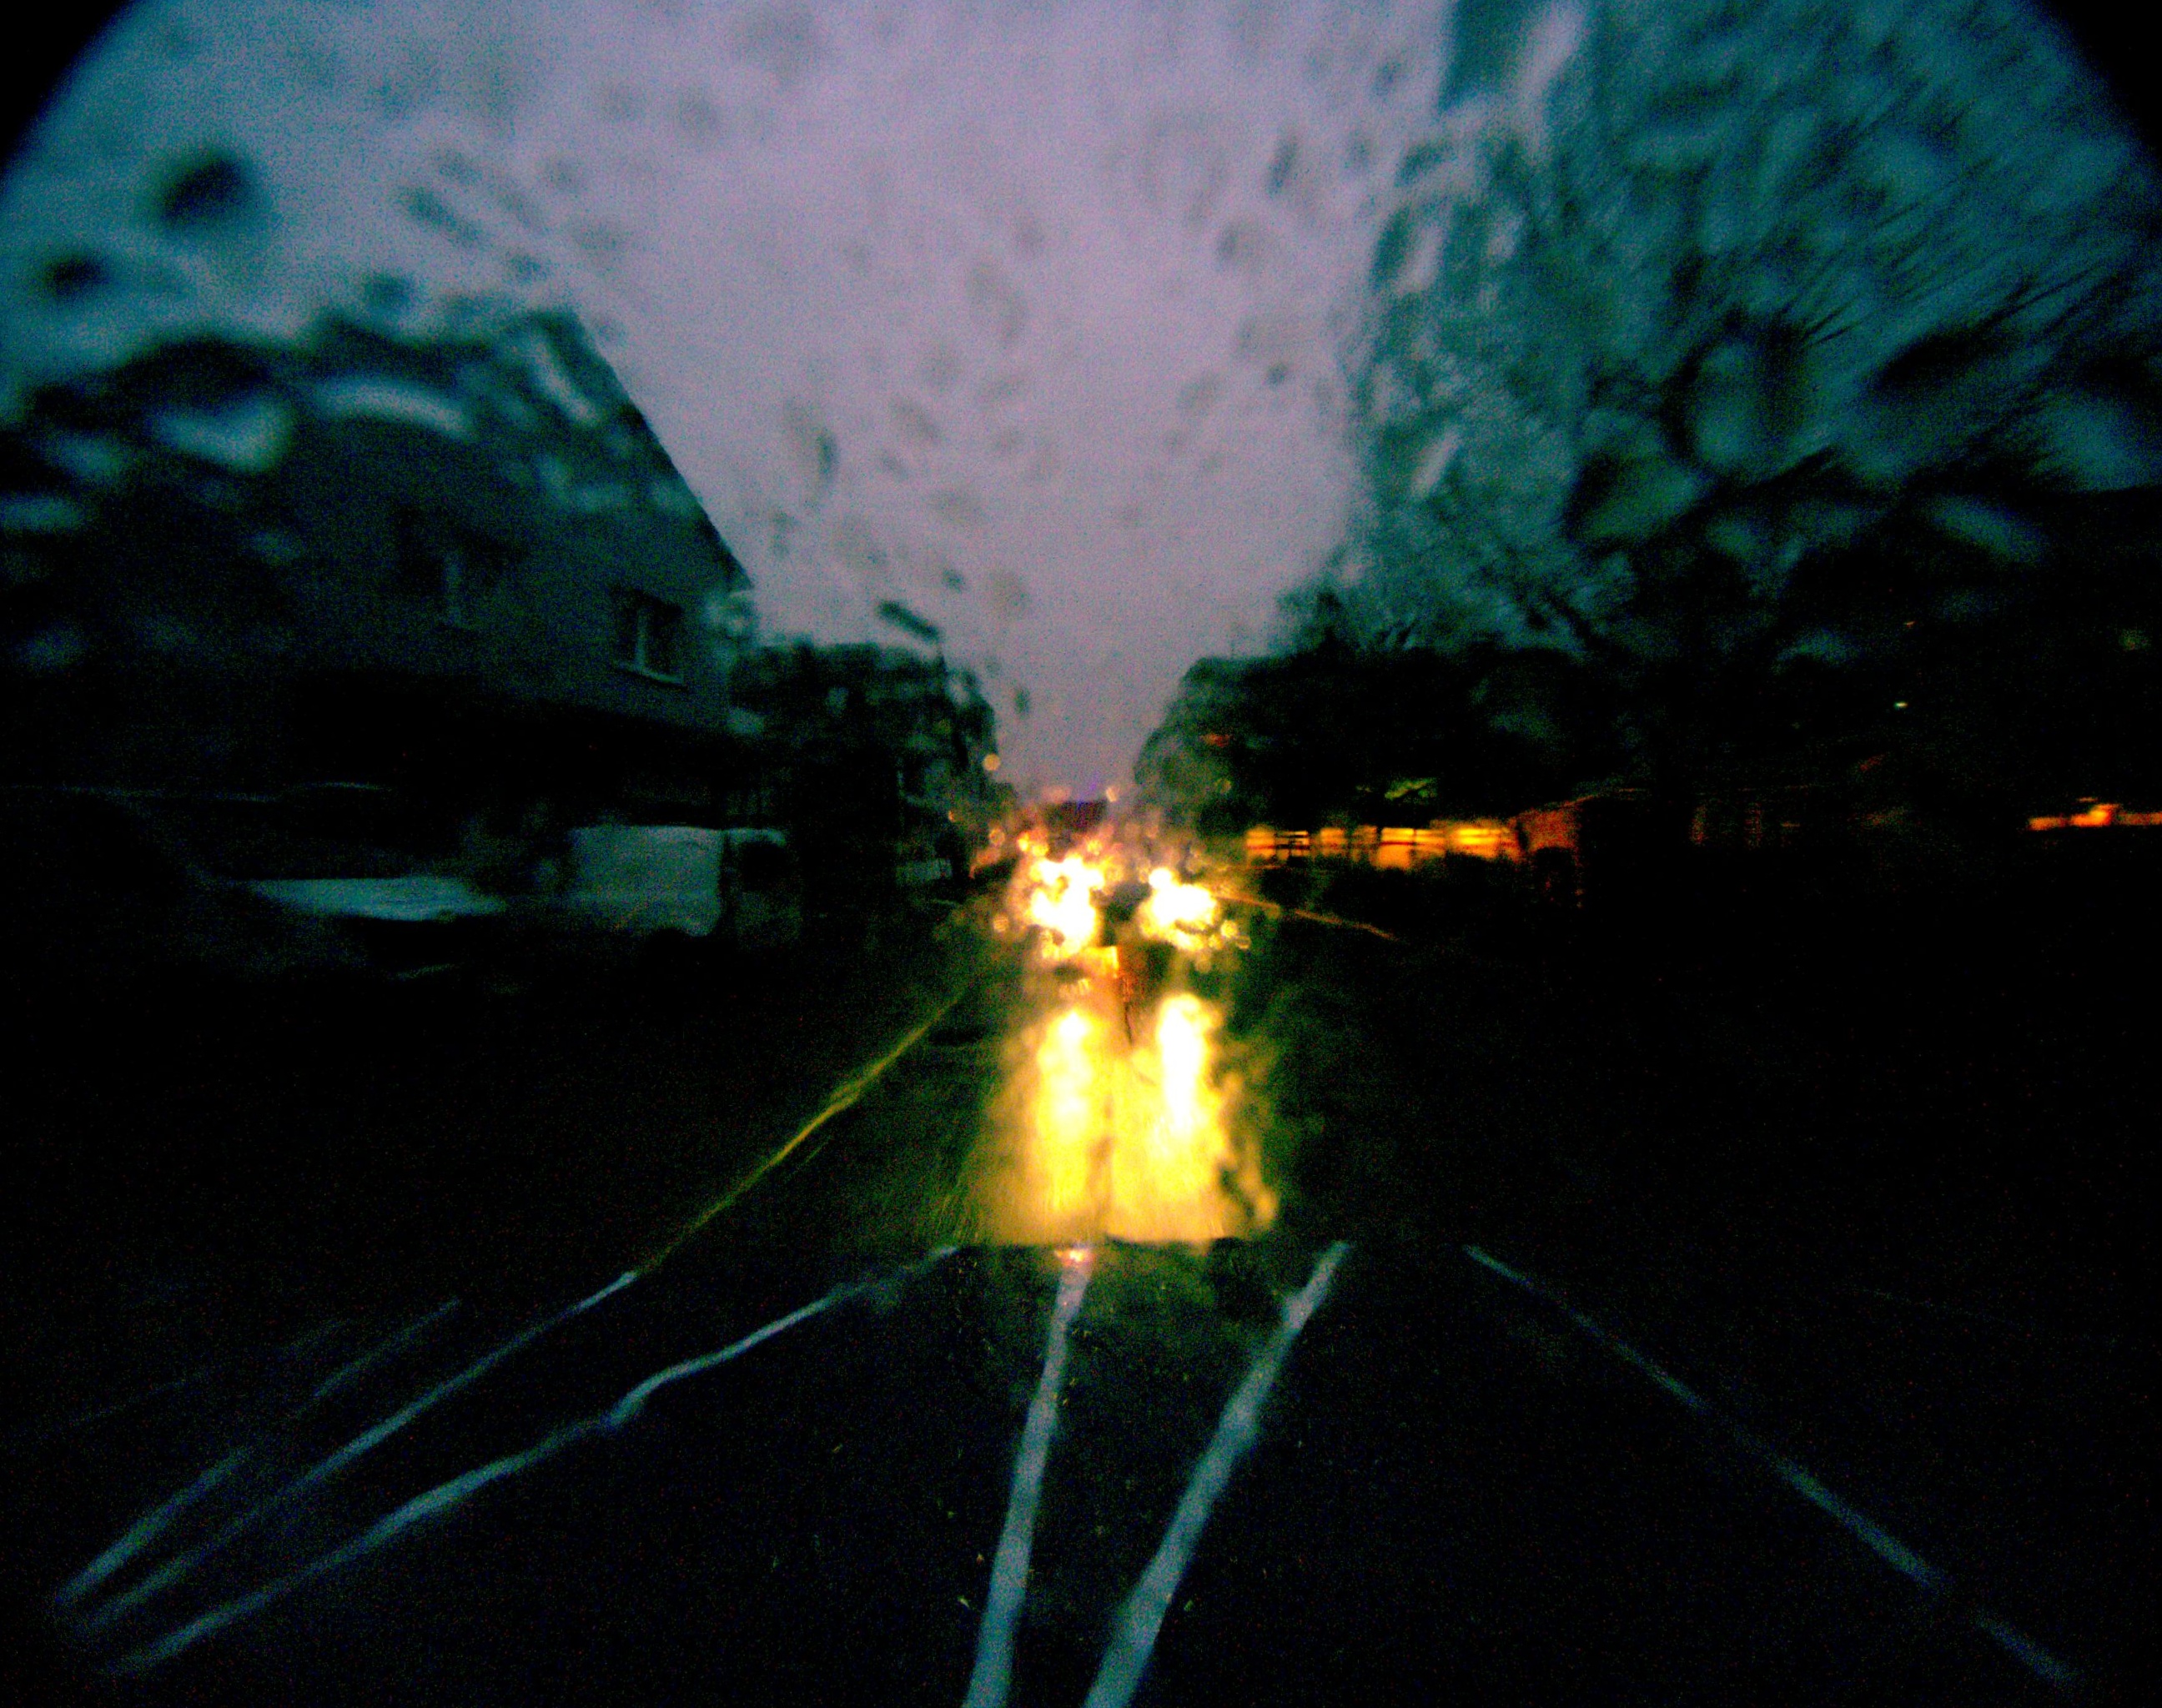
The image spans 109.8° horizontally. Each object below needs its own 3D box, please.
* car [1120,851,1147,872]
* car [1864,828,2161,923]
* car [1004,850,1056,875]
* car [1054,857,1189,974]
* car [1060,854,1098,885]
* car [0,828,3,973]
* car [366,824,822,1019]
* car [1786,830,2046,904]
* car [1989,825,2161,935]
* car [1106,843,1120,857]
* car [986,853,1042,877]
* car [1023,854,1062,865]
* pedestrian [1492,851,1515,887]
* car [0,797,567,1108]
[{"bbox_3d":[4.399,0.615,64.000,1.900,1.607,3.826,-2,0,0],"label":"car"},{"bbox_3d":[17.733,0.372,14.238,3.989,1.623,1.638,0,0,32],"label":"car"},{"bbox_3d":[-3.932,0.675,58.310,3.890,1.866,1.868,0,0,-6],"label":"car"},{"bbox_3d":[0.611,0.824,11.841,1.731,1.475,3.604,-2,0,3],"label":"car"},{"bbox_3d":[-0.168,0.818,42.809,1.924,1.608,3.867,-2,0,-3],"label":"car"},{"bbox_3d":[-14.173,0.437,8.065,3.992,1.613,1.883,3,1,15],"label":"car"},{"bbox_3d":[-5.298,0.641,8.575,4.050,1.833,1.864,1,1,7],"label":"car"},{"bbox_3d":[19.998,0.293,18.476,3.989,1.623,1.638,0,0,34],"label":"car"},{"bbox_3d":[16.670,0.361,11.410,3.625,1.602,1.613,-2,0,38],"label":"car"},{"bbox_3d":[4.913,-0.578,117.018,1.837,2.002,3.699,-2,0,-2],"label":"car"},{"bbox_3d":[-4.649,0.781,52.888,3.853,1.618,1.611,1,0,-6],"label":"car"},{"bbox_3d":[-3.892,0.538,76.771,3.888,1.121,1.551,0,0,-1],"label":"car"},{"bbox_3d":[15.925,0.544,28.647,0.620,1.331,0.568,-2,0,12],"label":"pedestrian"},{"bbox_3d":[-7.073,0.556,6.060,4.988,1.878,1.939,1,0,11],"label":"car"}]
